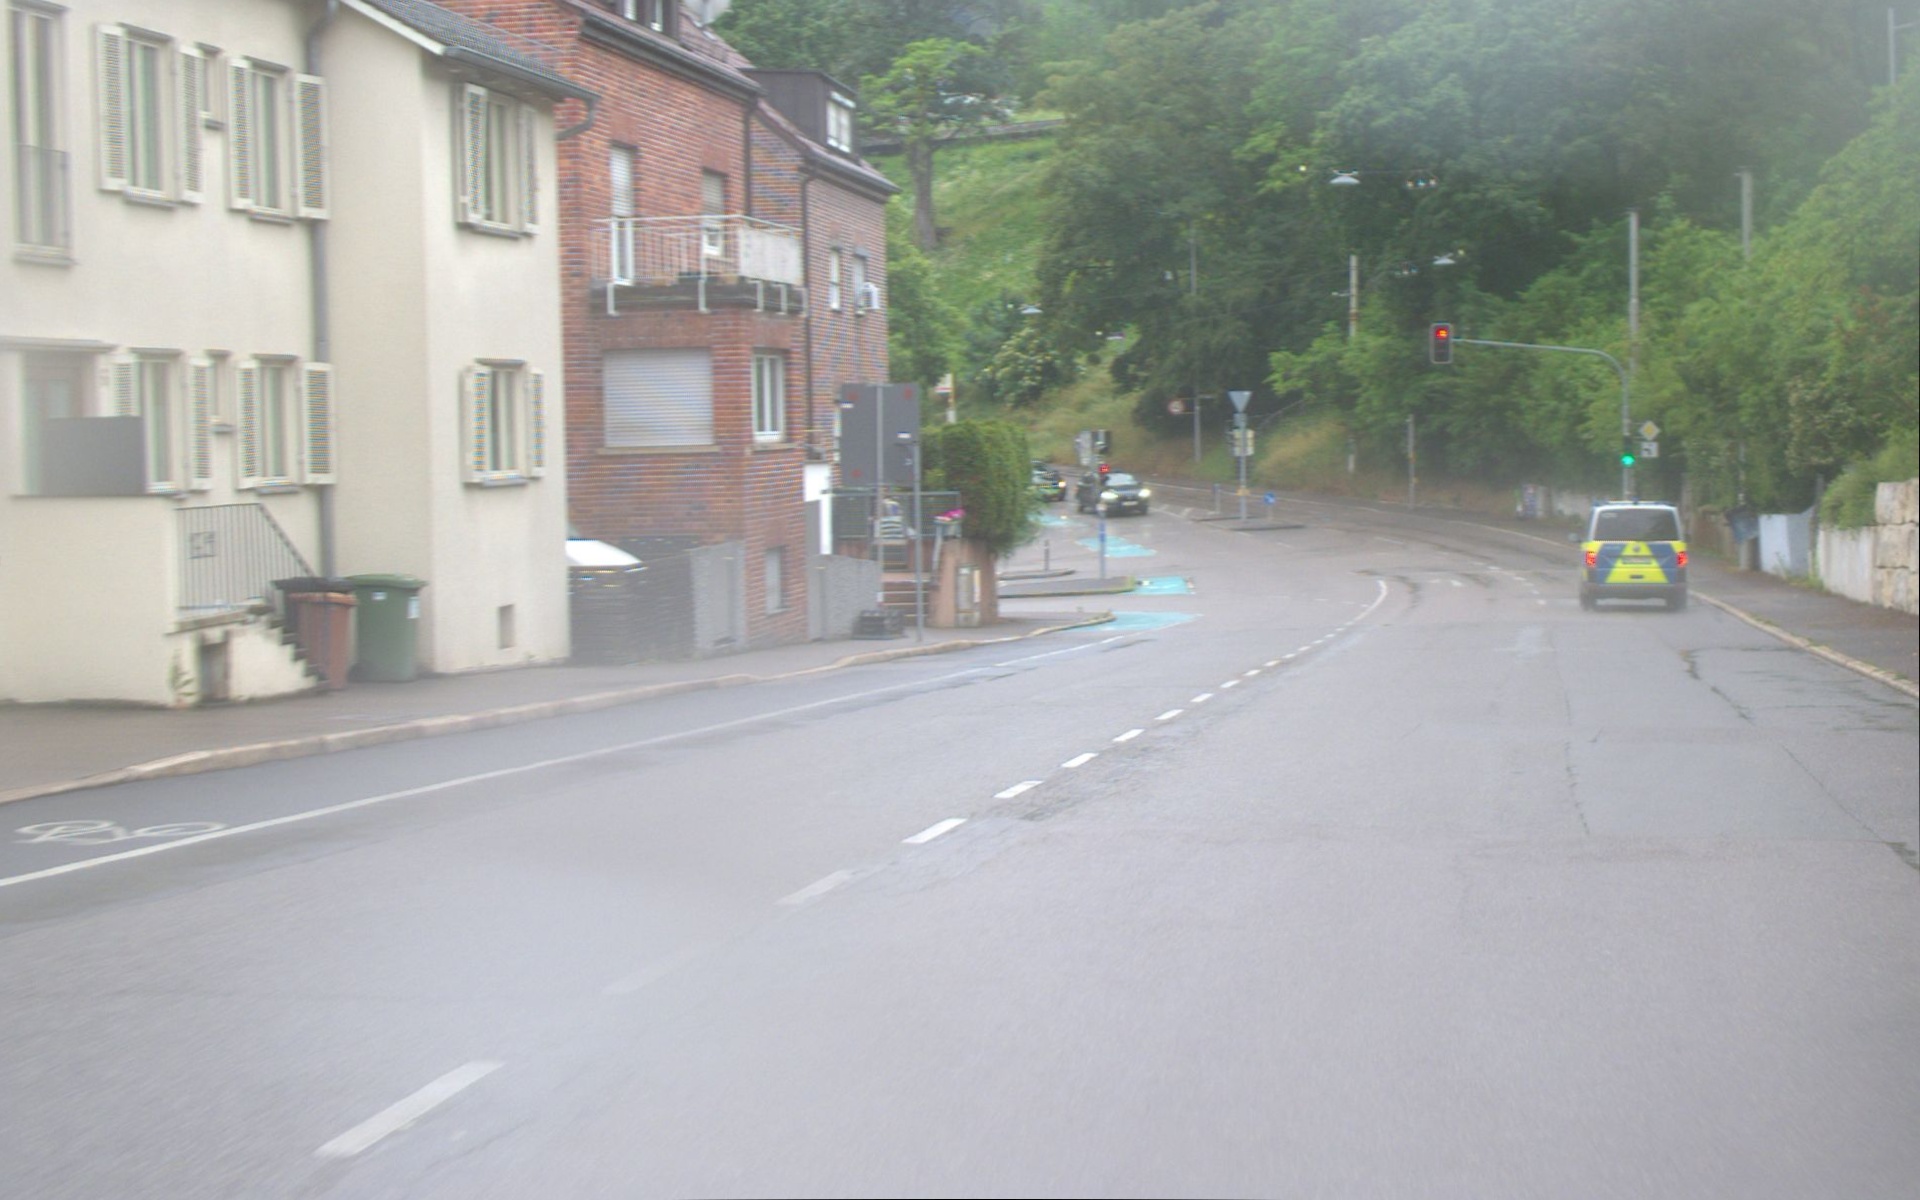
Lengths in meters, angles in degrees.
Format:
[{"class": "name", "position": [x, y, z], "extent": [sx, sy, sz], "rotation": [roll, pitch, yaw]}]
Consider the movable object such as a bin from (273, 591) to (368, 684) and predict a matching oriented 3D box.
[{"class": "movable object such as a bin", "position": [-6.008, 0.345, 32.336], "extent": [0.673, 0.856, 0.708], "rotation": [0, 1, 10]}]

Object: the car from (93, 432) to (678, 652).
[{"class": "car", "position": [-6.920, -0.661, 41.654], "extent": [6.657, 2.545, 2.167], "rotation": [0, 0, 10]}]

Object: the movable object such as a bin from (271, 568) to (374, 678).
[{"class": "movable object such as a bin", "position": [-6.187, 0.216, 33.367], "extent": [0.782, 1.043, 0.708], "rotation": [0, 1, 10]}]

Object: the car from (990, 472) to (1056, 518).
[{"class": "car", "position": [2.340, -3.942, 128.812], "extent": [1.741, 1.544, 4.001], "rotation": [-5, 3, -8]}]

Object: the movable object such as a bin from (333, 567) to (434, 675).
[{"class": "movable object such as a bin", "position": [-5.704, 0.202, 34.048], "extent": [0.782, 1.043, 0.738], "rotation": [0, 1, 10]}]

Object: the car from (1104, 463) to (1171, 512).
[{"class": "car", "position": [6.287, -4.008, 122.056], "extent": [1.741, 1.544, 4.001], "rotation": [-4, 3, -4]}]

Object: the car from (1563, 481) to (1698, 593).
[{"class": "car", "position": [12.342, -1.129, 63.513], "extent": [2.309, 1.933, 4.323], "rotation": [-2, 0, 10]}]
